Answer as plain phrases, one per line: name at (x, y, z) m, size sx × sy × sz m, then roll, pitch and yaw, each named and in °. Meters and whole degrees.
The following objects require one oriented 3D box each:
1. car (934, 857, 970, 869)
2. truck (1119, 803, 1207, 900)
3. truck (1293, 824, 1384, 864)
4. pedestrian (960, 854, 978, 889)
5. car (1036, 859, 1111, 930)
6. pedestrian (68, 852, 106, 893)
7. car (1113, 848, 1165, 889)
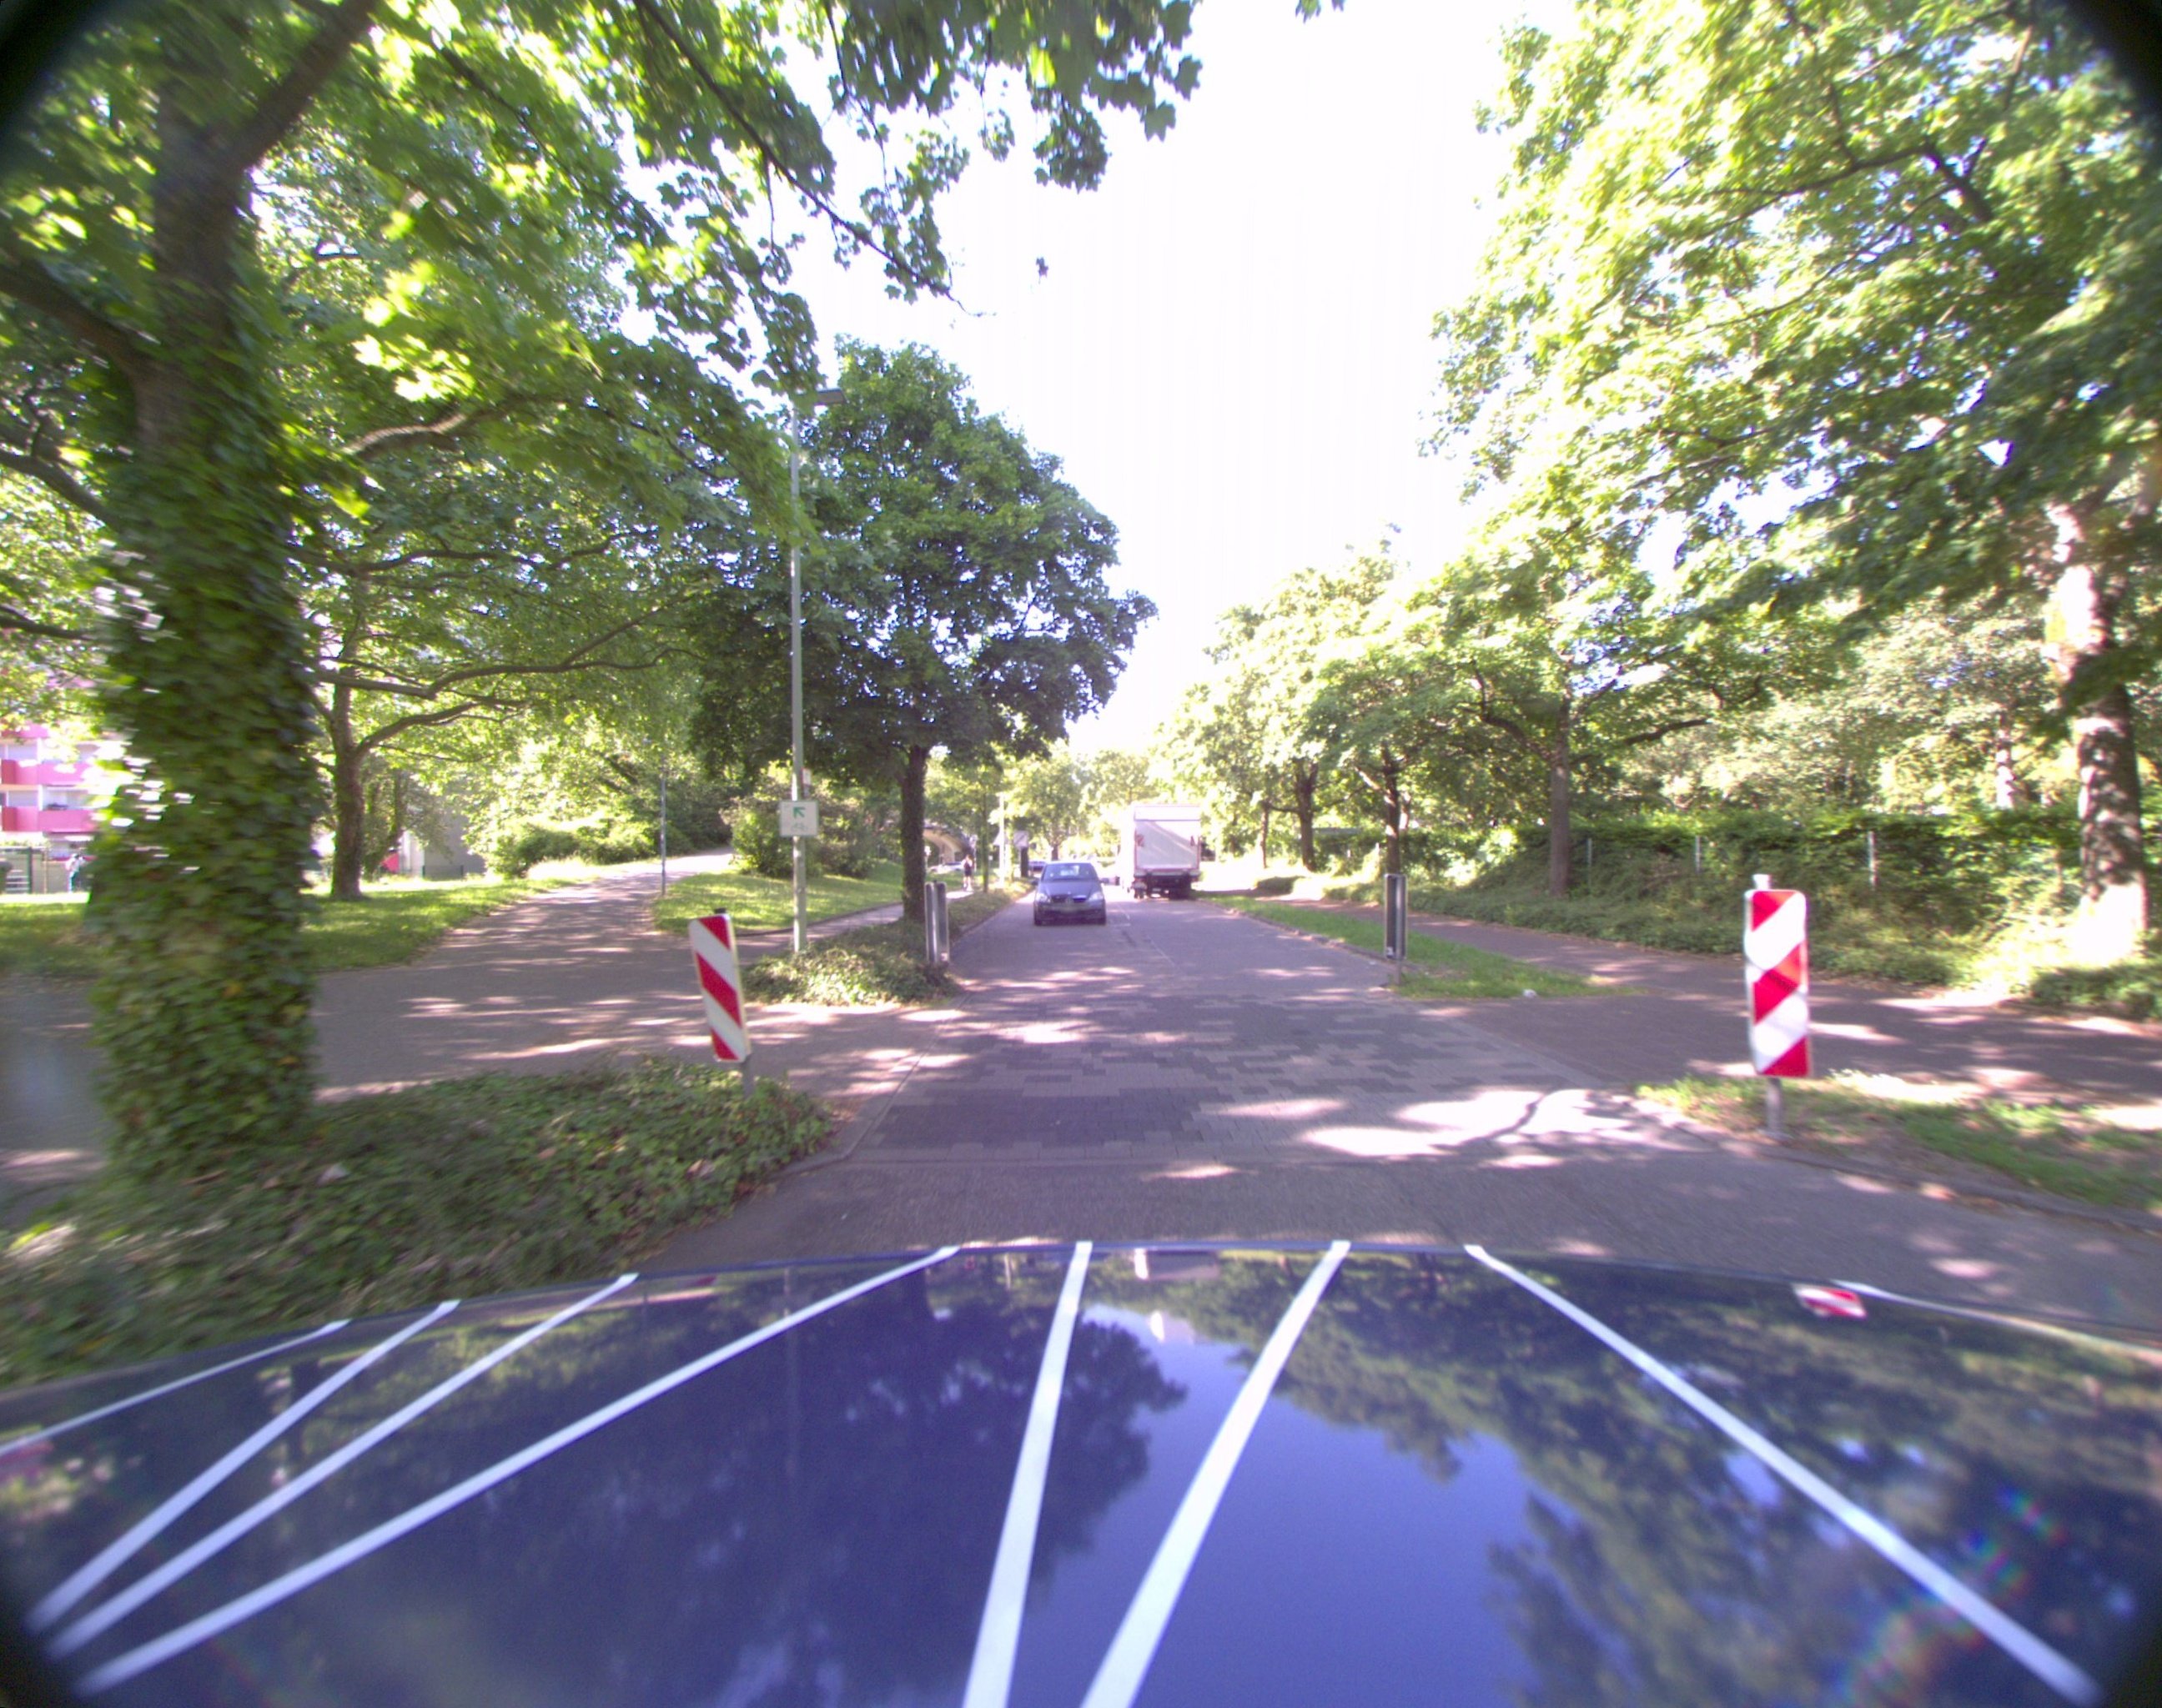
car at (-15.724, 1.047, 92.704) m, size 4.089 × 1.258 × 1.757 m, roll -2°, pitch 0°, yaw 1°
truck at (3.293, -0.080, 32.692) m, size 2.741 × 3.620 × 8.100 m, roll -1°, pitch 0°, yaw -1°
truck at (13.568, -0.504, 40.165) m, size 3.998 × 2.002 × 2.203 m, roll 1°, pitch 0°, yaw -3°
pedestrian at (-5.880, 0.913, 39.872) m, size 0.793 × 1.821 × 0.671 m, roll -1°, pitch 1°, yaw 0°
car at (-0.247, 0.950, 19.645) m, size 1.734 × 1.578 × 3.999 m, roll -1°, pitch 0°, yaw -2°
pedestrian at (-38.909, 0.718, 29.751) m, size 0.627 × 1.579 × 0.679 m, roll -3°, pitch 1°, yaw -31°
car at (3.139, 0.766, 42.528) m, size 2.125 × 2.083 × 6.583 m, roll -1°, pitch 0°, yaw -2°
